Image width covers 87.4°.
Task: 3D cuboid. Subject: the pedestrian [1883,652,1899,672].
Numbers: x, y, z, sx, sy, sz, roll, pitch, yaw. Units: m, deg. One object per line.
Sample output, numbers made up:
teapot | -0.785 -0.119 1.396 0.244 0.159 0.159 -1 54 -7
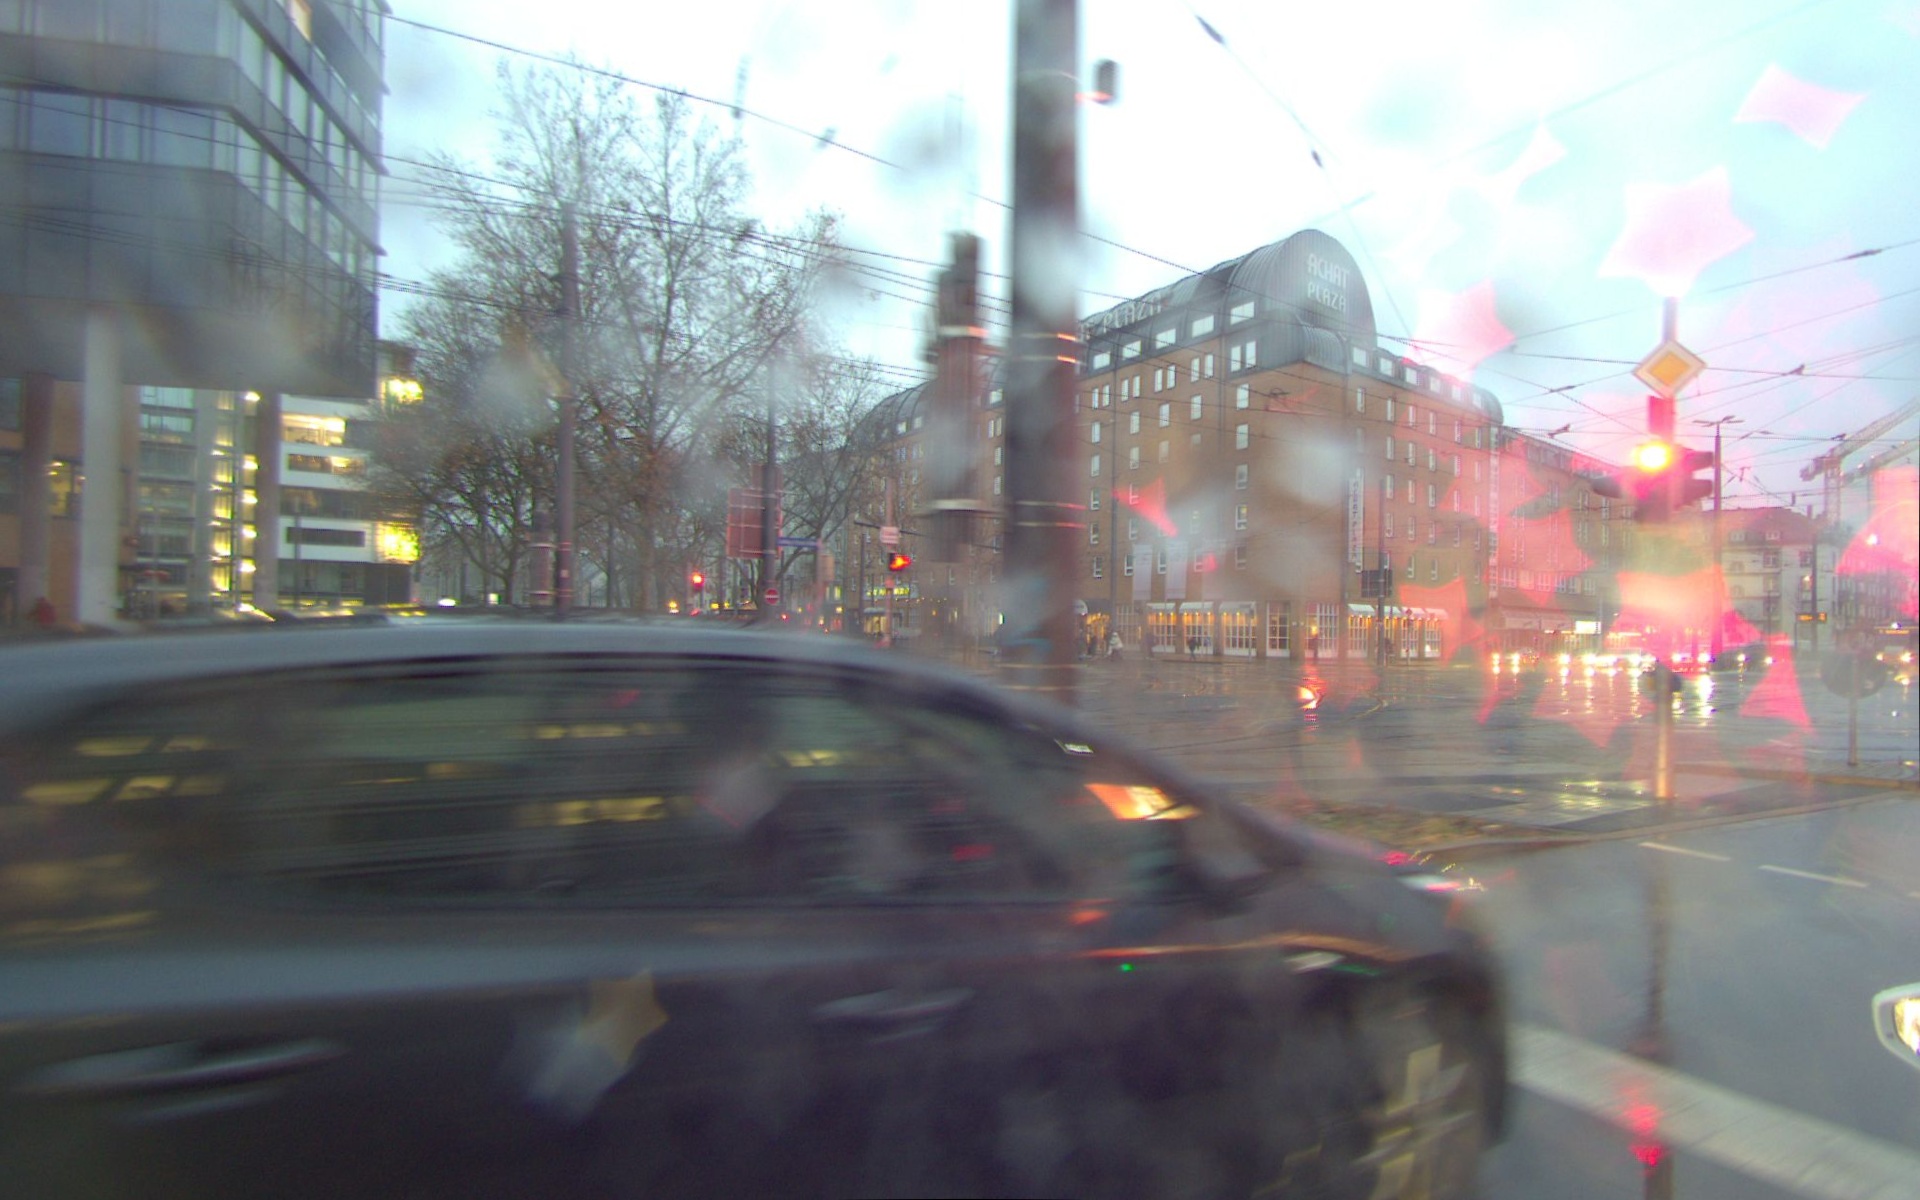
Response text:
pedestrian | 55.001 3.672 59.350 0.486 1.168 0.575 2 0 -38

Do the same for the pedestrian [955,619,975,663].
pedestrian | 0.245 1.942 47.664 0.746 2.040 0.705 2 -2 -14

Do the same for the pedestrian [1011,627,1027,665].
pedestrian | 3.112 2.405 52.684 0.657 1.984 0.527 1 -1 -17

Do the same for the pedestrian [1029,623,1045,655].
pedestrian | 5.007 2.549 65.033 0.712 2.040 0.740 2 -2 -33

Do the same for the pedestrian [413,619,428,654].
pedestrian | -26.542 1.793 49.375 0.556 1.706 0.592 2 -1 -34

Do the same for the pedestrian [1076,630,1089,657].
pedestrian | 6.945 2.462 57.023 0.566 1.558 0.517 1 -1 -21

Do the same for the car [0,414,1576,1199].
car | -0.406 0.637 2.453 3.715 1.593 1.673 2 -2 -29

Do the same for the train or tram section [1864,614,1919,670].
train or tram section | 67.881 3.013 71.963 12.155 3.636 2.925 2 0 -40

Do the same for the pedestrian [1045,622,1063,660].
pedestrian | 5.091 2.228 54.494 0.746 2.040 0.705 2 -2 -14

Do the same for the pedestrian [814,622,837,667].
pedestrian | -6.156 2.021 46.034 0.696 2.040 0.756 0 -2 36

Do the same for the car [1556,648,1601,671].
car | 41.869 4.013 67.977 3.566 1.515 1.569 2 -2 -39

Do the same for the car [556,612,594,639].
car | -32.355 2.142 84.405 1.903 2.165 4.033 2 -2 -38

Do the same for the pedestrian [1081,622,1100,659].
pedestrian | 7.212 2.231 55.697 0.701 2.040 0.751 2 -2 -36

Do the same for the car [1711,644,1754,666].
car | 52.822 3.740 68.631 3.519 1.372 1.667 3 -1 -41

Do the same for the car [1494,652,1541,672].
car | 39.997 4.407 72.044 4.194 1.339 1.598 2 -2 -40

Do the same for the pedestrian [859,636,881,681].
pedestrian | -4.125 2.698 46.142 0.750 2.040 0.702 2 -2 -28

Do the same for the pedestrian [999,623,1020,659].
pedestrian | 2.674 2.205 54.221 0.777 1.925 0.832 2 -2 -32

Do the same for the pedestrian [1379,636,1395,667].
pedestrian | 28.479 3.407 67.055 0.919 2.040 0.758 0 -2 27

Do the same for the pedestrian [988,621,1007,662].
pedestrian | 1.890 2.077 50.370 0.746 2.040 0.798 2 -2 -14

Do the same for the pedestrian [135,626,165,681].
pedestrian | -19.575 1.289 24.287 0.491 1.281 0.442 2 0 -34

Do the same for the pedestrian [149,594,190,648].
pedestrian | -27.877 0.747 35.426 0.908 1.870 0.771 1 -2 -21

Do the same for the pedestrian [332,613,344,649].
pedestrian | -31.165 1.553 50.325 0.441 1.774 0.649 2 -1 -30

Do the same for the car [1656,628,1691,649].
car | 72.315 3.919 101.808 3.968 2.040 1.976 2 0 -41

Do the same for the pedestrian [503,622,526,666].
pedestrian | -17.843 1.756 40.226 0.551 1.706 0.597 0 -1 27

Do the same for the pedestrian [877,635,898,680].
pedestrian | -3.352 2.658 46.466 0.750 2.040 0.702 2 -2 -28

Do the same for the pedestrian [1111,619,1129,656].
pedestrian | 8.937 2.108 56.119 0.746 2.040 0.705 2 -2 -14

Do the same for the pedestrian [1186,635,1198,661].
pedestrian | 14.535 3.004 62.953 0.566 1.558 0.517 1 -1 -21

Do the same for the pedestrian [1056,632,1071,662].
pedestrian | 5.542 2.513 53.779 0.566 1.558 0.517 1 -1 -21

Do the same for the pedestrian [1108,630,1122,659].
pedestrian | 8.451 2.413 54.740 0.566 1.558 0.517 1 -1 -21

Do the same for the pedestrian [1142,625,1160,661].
pedestrian | 10.990 2.475 57.867 0.750 2.040 0.702 2 -2 -30

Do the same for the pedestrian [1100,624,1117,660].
pedestrian | 8.556 2.398 57.953 0.746 2.040 0.705 2 -2 -14

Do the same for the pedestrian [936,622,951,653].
pedestrian | -1.093 2.498 67.159 0.712 2.040 0.740 2 -2 -33

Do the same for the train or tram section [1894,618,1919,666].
train or tram section | 76.807 3.375 79.498 10.945 3.625 2.900 2 0 -40

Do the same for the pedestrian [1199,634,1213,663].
pedestrian | 13.462 2.643 54.928 0.566 1.558 0.517 1 -1 -21

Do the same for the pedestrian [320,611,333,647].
pedestrian | -31.581 1.427 50.077 0.441 1.774 0.649 2 -1 -30

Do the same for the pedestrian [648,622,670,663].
pedestrian | -15.343 2.166 51.205 0.696 2.040 0.756 0 -2 36

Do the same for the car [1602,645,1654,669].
car | 43.515 3.706 65.402 4.166 1.515 1.655 2 -2 -39

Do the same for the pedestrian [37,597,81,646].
pedestrian | -32.234 0.762 35.947 0.680 1.731 0.926 1 -2 -1

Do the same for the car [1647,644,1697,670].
car | 49.860 3.978 70.281 4.669 1.732 1.813 2 -2 -41
